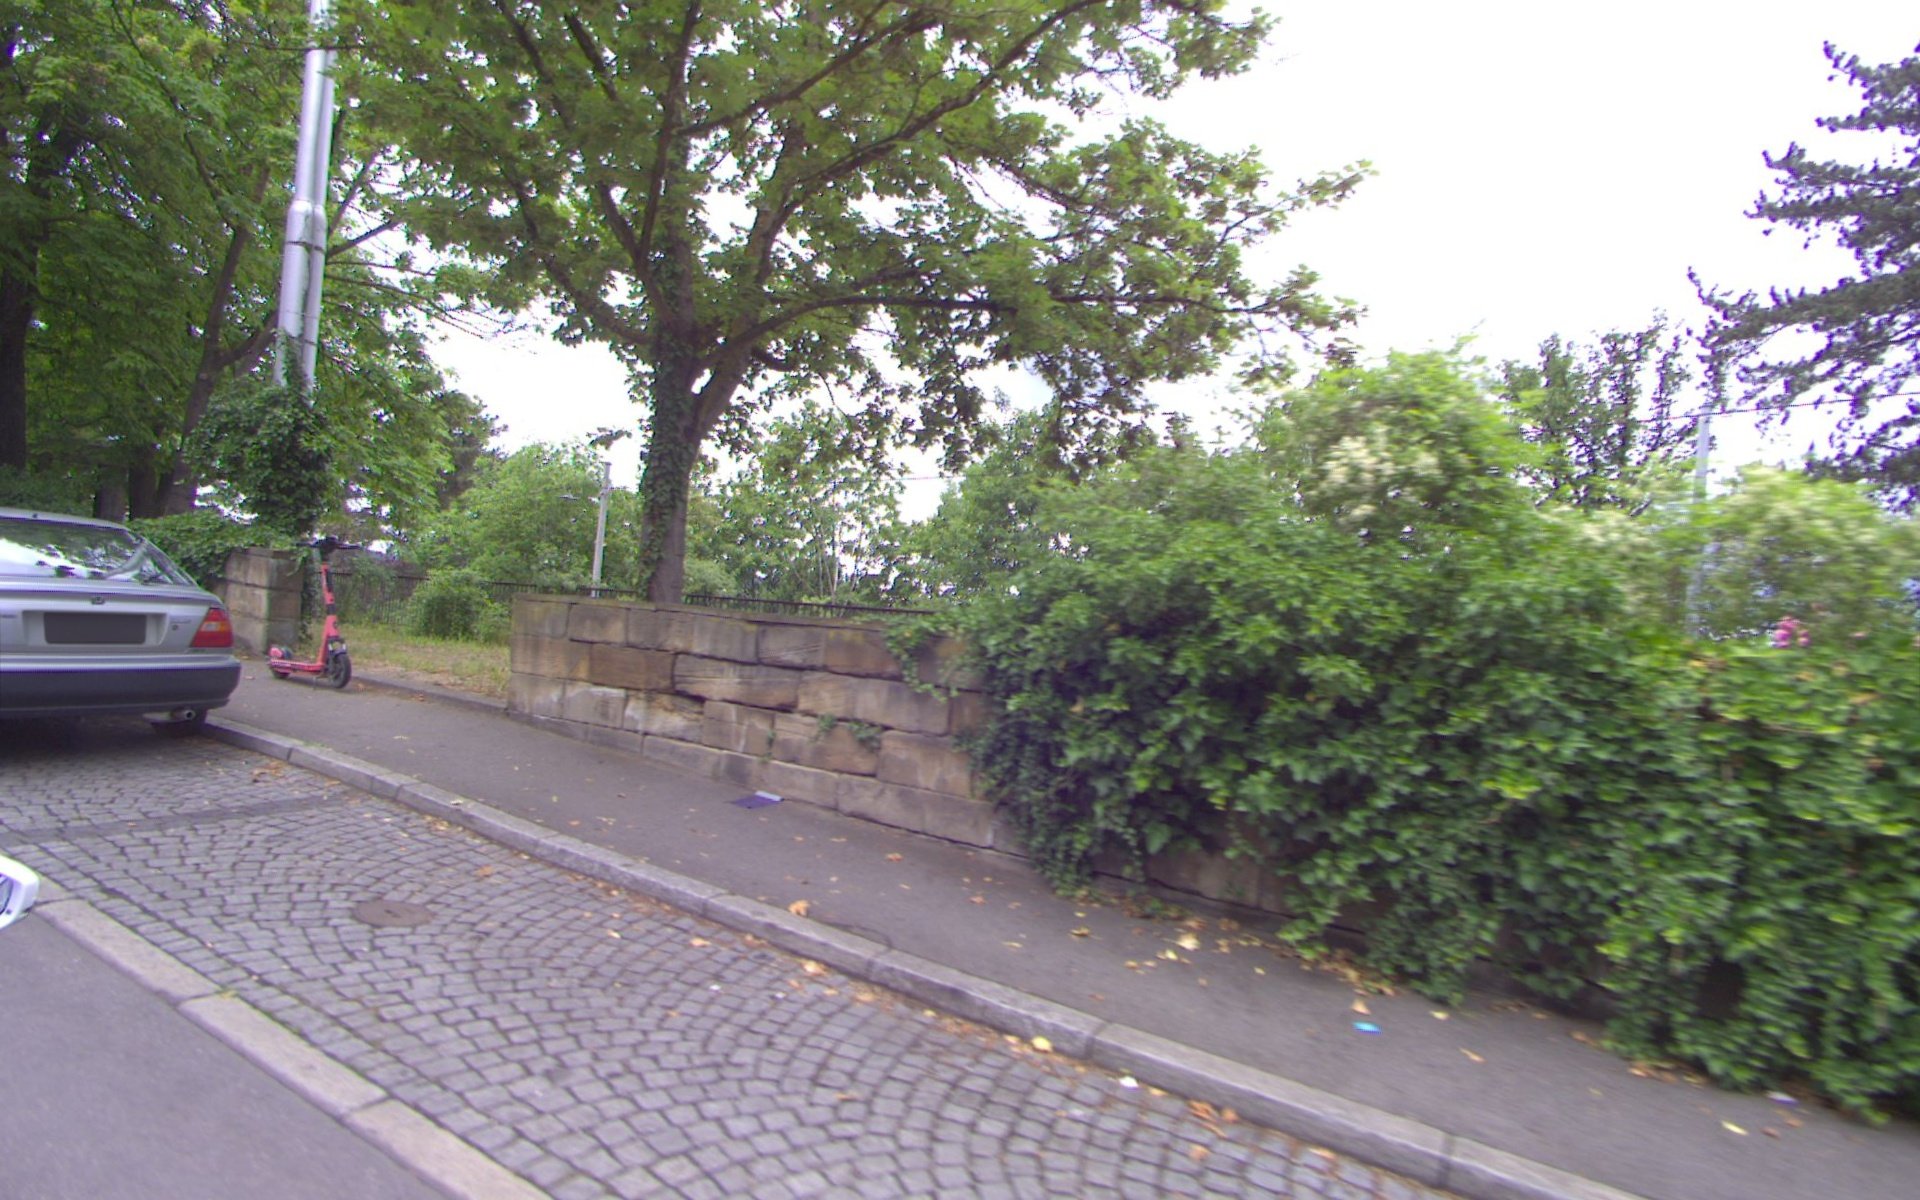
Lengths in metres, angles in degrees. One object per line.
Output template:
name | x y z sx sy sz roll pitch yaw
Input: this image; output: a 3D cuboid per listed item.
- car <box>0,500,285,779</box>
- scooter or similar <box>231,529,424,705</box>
car | -6.626 0.029 6.606 4.474 1.416 1.772 6 0 30
scooter or similar | -5.381 0.097 8.513 1.966 1.262 0.560 6 5 31
